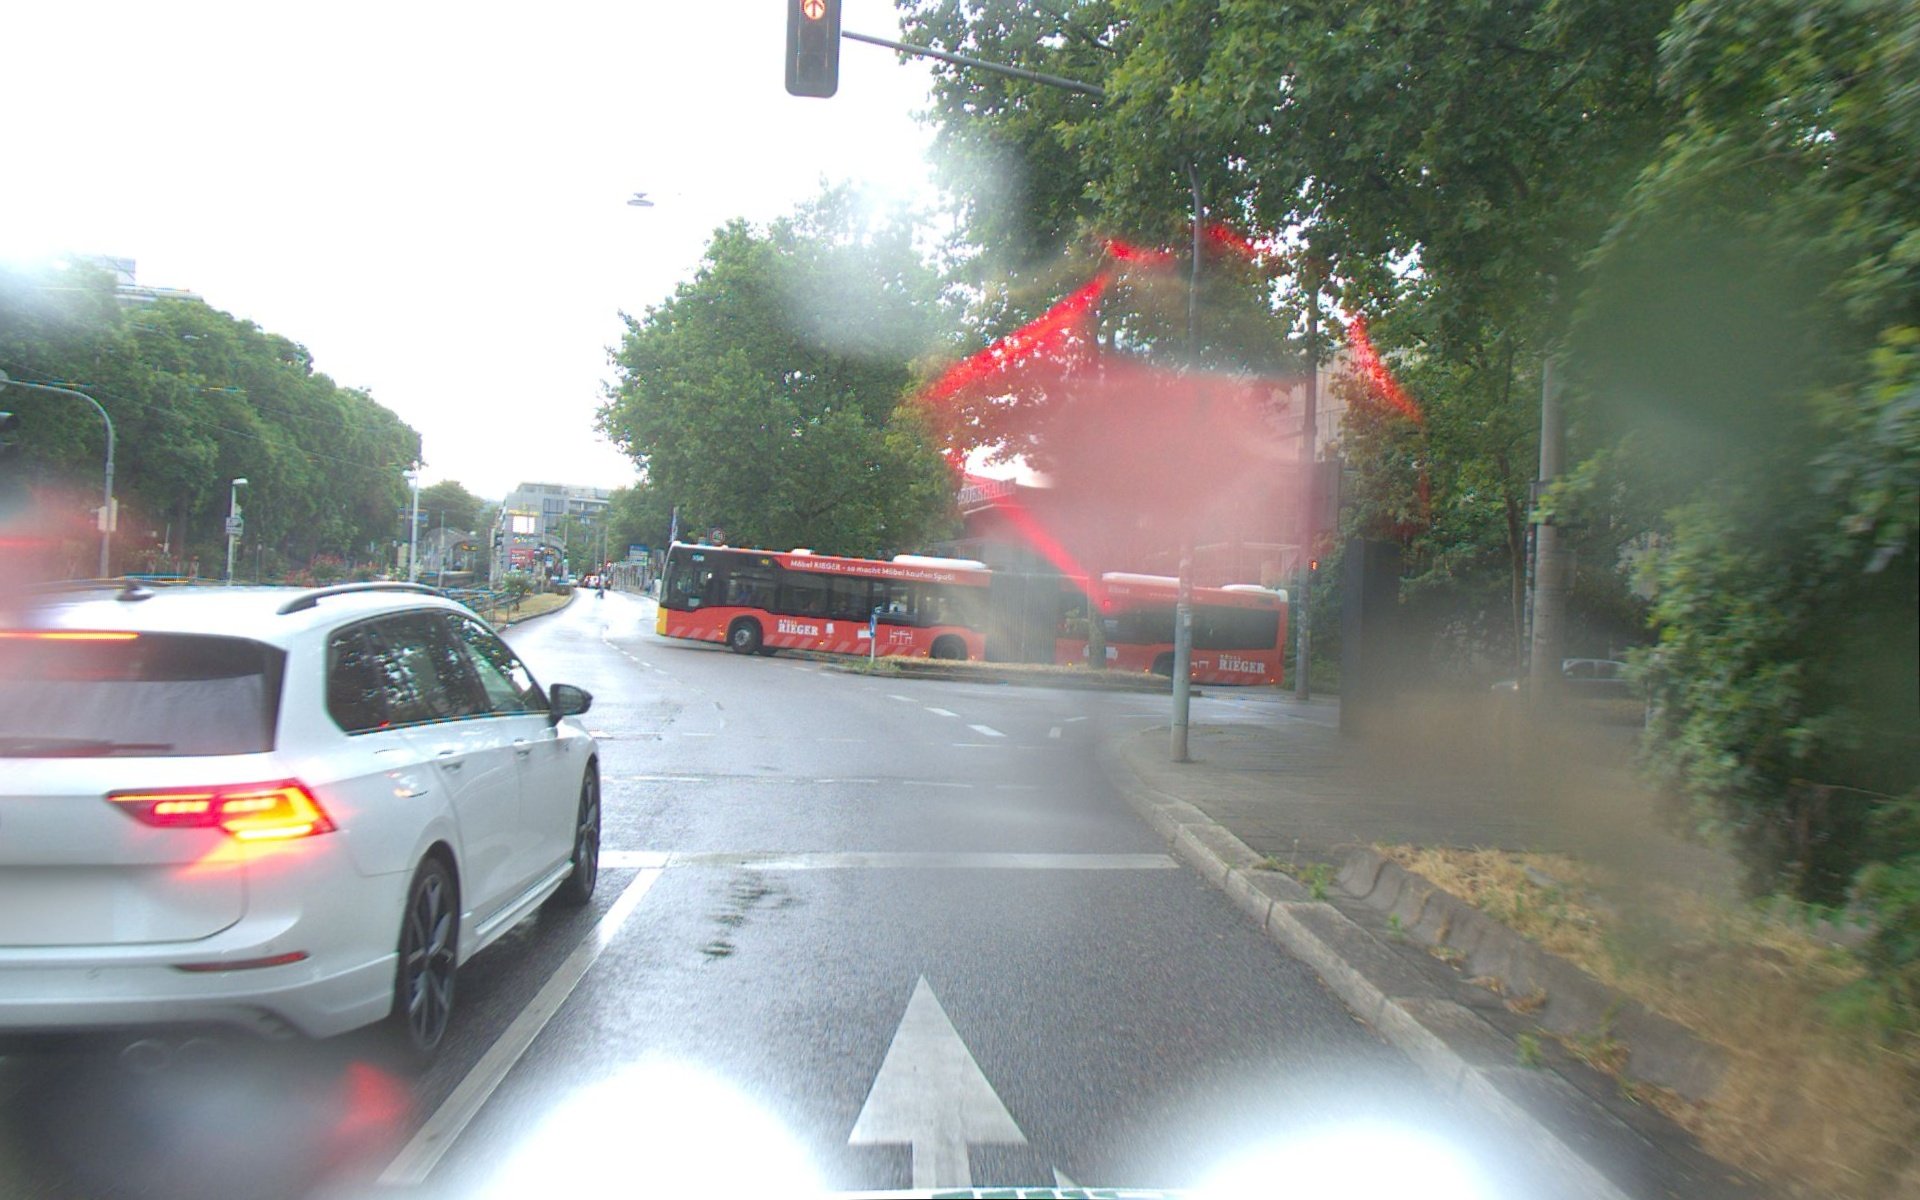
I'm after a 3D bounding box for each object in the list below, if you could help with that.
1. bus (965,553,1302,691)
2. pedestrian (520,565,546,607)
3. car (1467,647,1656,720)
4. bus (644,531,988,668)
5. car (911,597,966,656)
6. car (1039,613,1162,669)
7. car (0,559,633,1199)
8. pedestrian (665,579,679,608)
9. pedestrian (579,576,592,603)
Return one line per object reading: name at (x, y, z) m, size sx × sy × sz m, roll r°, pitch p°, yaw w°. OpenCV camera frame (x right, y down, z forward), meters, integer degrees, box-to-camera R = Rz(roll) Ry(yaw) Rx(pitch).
bus at (4.819, 0.633, 46.778) m, size 8.977 × 3.165 × 2.661 m, roll 4°, pitch -1°, yaw -5°
pedestrian at (-17.570, -0.557, 68.032) m, size 0.723 × 1.668 × 0.870 m, roll 4°, pitch -1°, yaw -1°
car at (15.001, 2.075, 41.341) m, size 3.912 × 1.467 × 1.997 m, roll 4°, pitch -1°, yaw -8°
bus at (-4.025, -0.002, 47.077) m, size 9.226 × 3.165 × 2.560 m, roll 4°, pitch -1°, yaw 7°
car at (-1.304, 1.509, 96.677) m, size 2.496 × 3.188 × 5.023 m, roll 4°, pitch -1°, yaw -7°
car at (5.854, 1.692, 68.907) m, size 4.683 × 1.977 × 1.986 m, roll 5°, pitch -1°, yaw -24°
car at (-2.395, 0.689, 5.983) m, size 1.645 × 1.604 × 4.252 m, roll 2°, pitch 0°, yaw -2°
pedestrian at (-18.904, -0.408, 108.414) m, size 0.743 × 1.855 × 0.698 m, roll 4°, pitch -1°, yaw -15°
pedestrian at (-46.464, -1.307, 205.108) m, size 1.328 × 3.308 × 0.981 m, roll 4°, pitch -1°, yaw -8°
